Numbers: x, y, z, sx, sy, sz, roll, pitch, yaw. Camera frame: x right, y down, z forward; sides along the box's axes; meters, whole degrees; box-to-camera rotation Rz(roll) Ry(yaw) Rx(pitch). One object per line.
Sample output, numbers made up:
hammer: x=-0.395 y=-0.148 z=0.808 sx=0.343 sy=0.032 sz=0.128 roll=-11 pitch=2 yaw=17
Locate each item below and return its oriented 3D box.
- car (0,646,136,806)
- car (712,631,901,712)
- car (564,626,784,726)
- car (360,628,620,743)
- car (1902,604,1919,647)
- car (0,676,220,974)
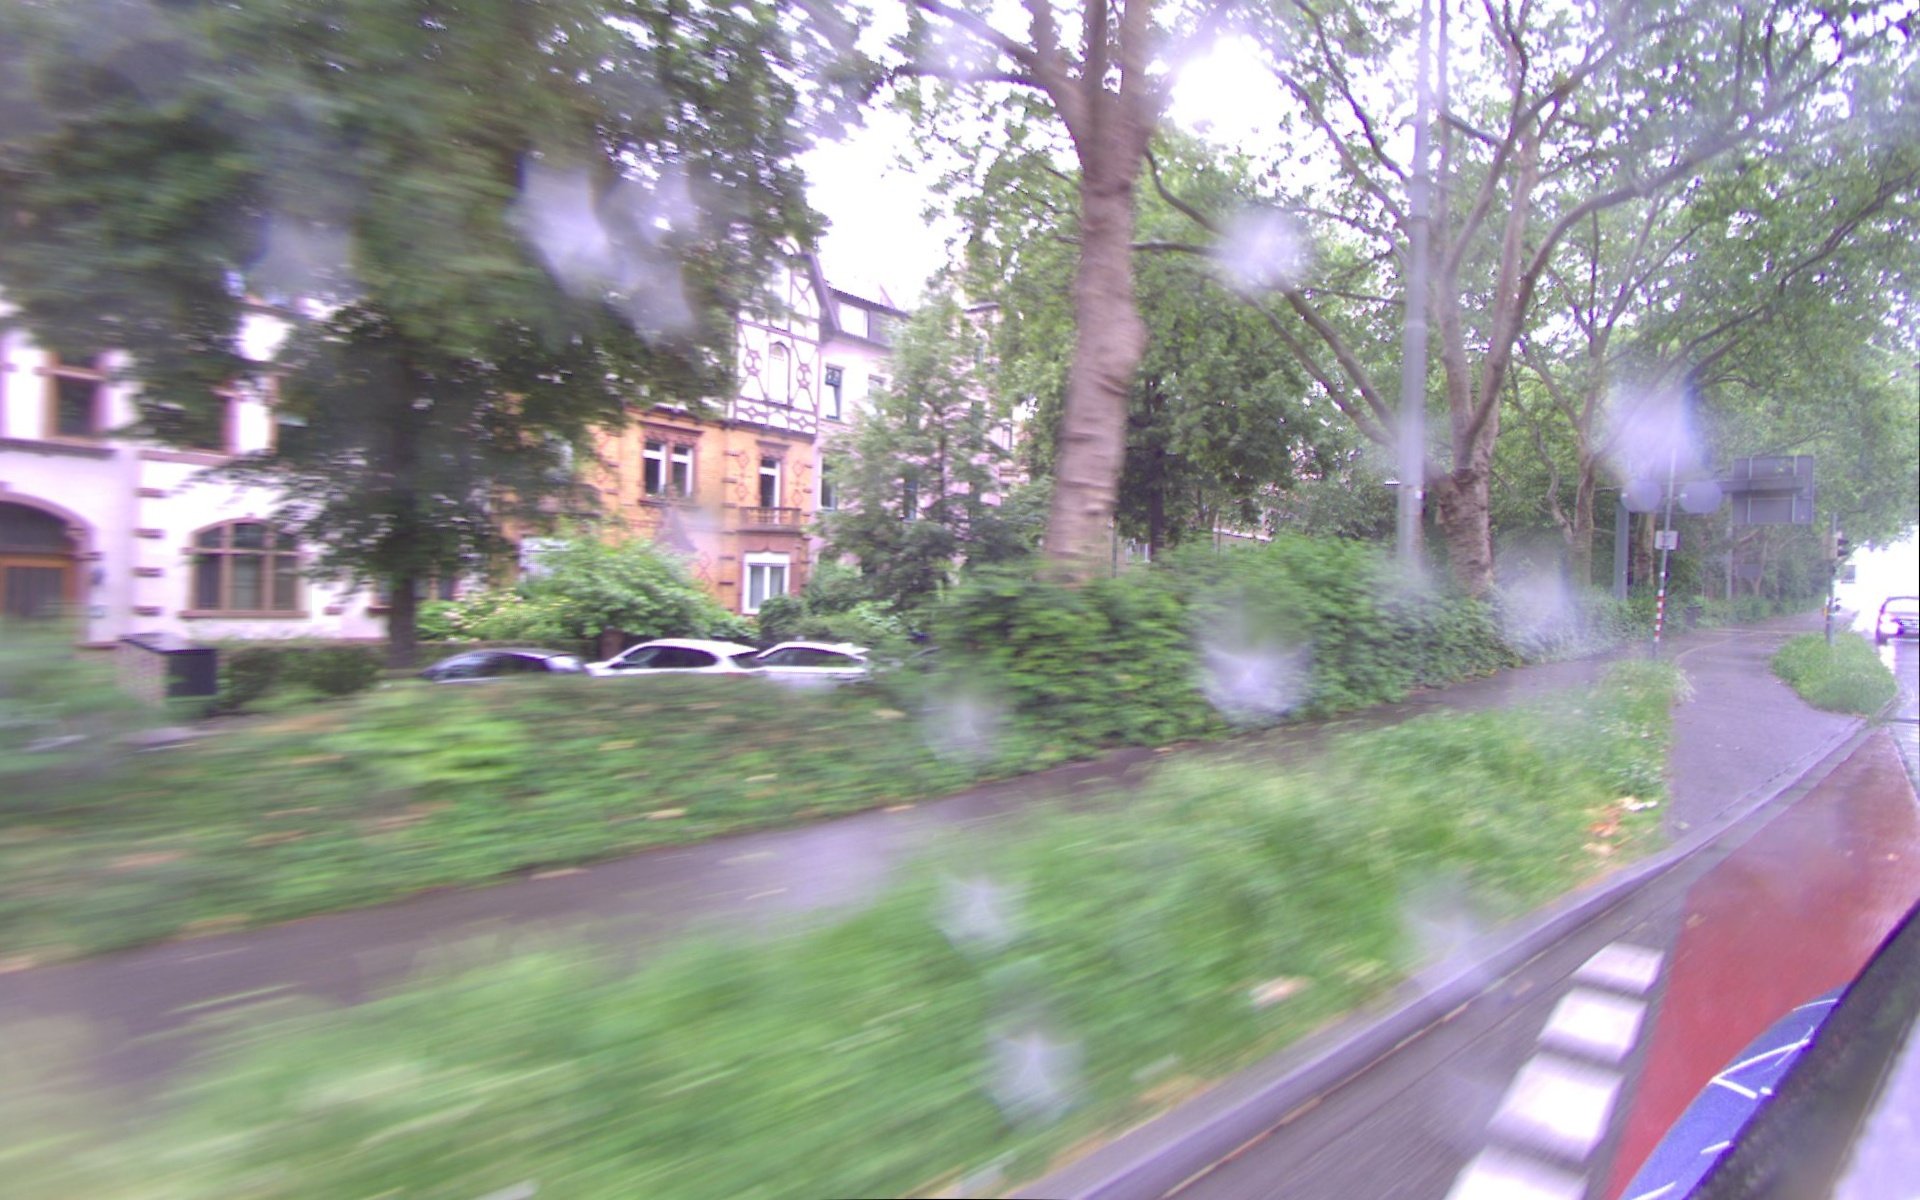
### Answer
car: x=-12.419 y=1.416 z=12.168 sx=3.742 sy=1.578 sz=1.912 roll=3 pitch=1 yaw=10
car: x=-3.377 y=1.552 z=22.626 sx=3.742 sy=1.433 sz=1.912 roll=3 pitch=1 yaw=10
car: x=-5.659 y=1.459 z=20.246 sx=3.742 sy=1.623 sz=1.912 roll=3 pitch=1 yaw=10
car: x=-8.227 y=1.445 z=17.876 sx=3.742 sy=1.623 sz=1.912 roll=3 pitch=1 yaw=10
car: x=35.292 y=0.912 z=36.629 sx=1.722 sy=1.451 sz=3.792 roll=2 pitch=1 yaw=43
car: x=-7.790 y=1.590 z=7.912 sx=3.614 sy=1.623 sz=1.688 roll=3 pitch=1 yaw=25
